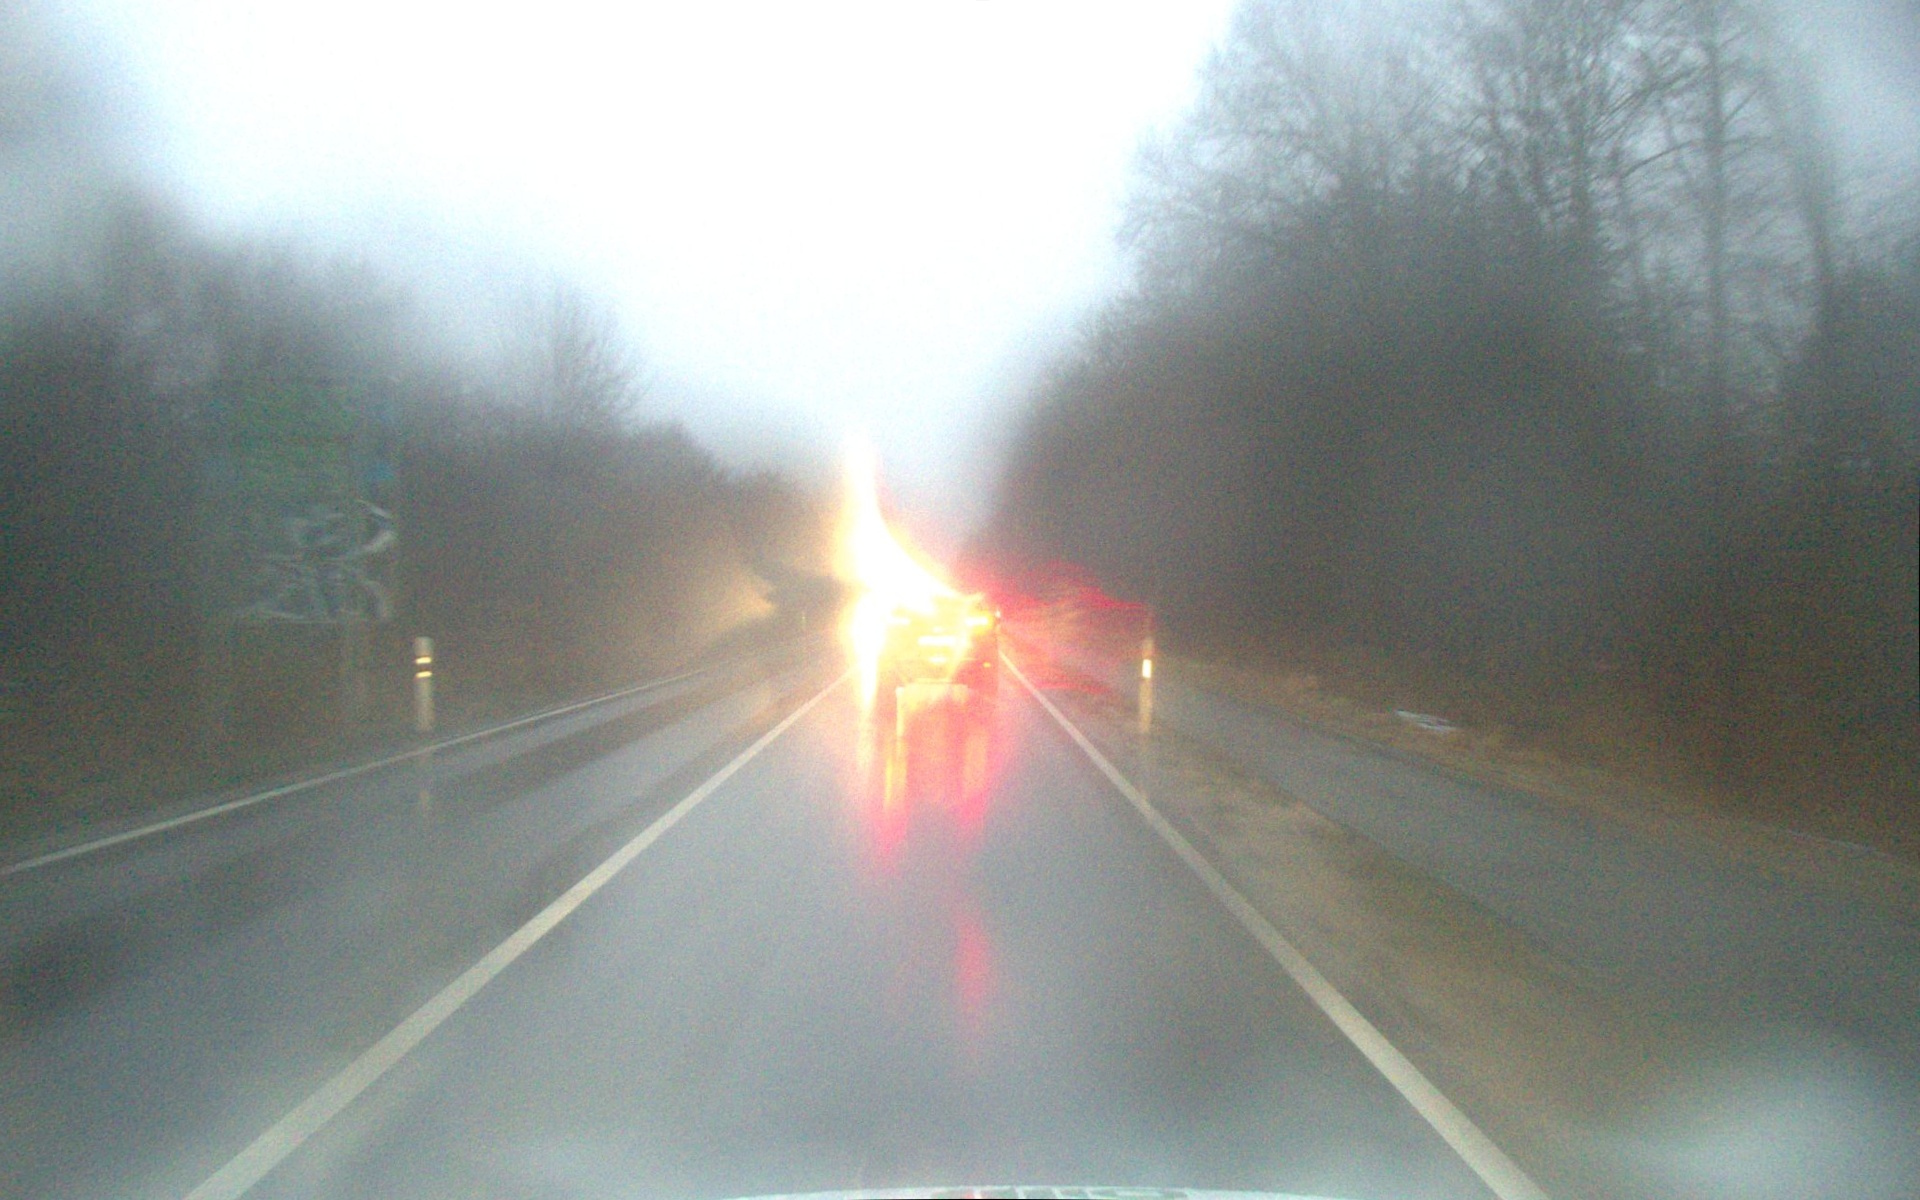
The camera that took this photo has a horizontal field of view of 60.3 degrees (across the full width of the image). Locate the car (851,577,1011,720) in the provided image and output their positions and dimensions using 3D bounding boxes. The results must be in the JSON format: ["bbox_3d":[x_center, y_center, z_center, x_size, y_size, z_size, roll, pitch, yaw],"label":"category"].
[{"bbox_3d":[-0.429,0.677,24.980,2.153,1.910,4.826,1,0,-1],"label":"car"}]
